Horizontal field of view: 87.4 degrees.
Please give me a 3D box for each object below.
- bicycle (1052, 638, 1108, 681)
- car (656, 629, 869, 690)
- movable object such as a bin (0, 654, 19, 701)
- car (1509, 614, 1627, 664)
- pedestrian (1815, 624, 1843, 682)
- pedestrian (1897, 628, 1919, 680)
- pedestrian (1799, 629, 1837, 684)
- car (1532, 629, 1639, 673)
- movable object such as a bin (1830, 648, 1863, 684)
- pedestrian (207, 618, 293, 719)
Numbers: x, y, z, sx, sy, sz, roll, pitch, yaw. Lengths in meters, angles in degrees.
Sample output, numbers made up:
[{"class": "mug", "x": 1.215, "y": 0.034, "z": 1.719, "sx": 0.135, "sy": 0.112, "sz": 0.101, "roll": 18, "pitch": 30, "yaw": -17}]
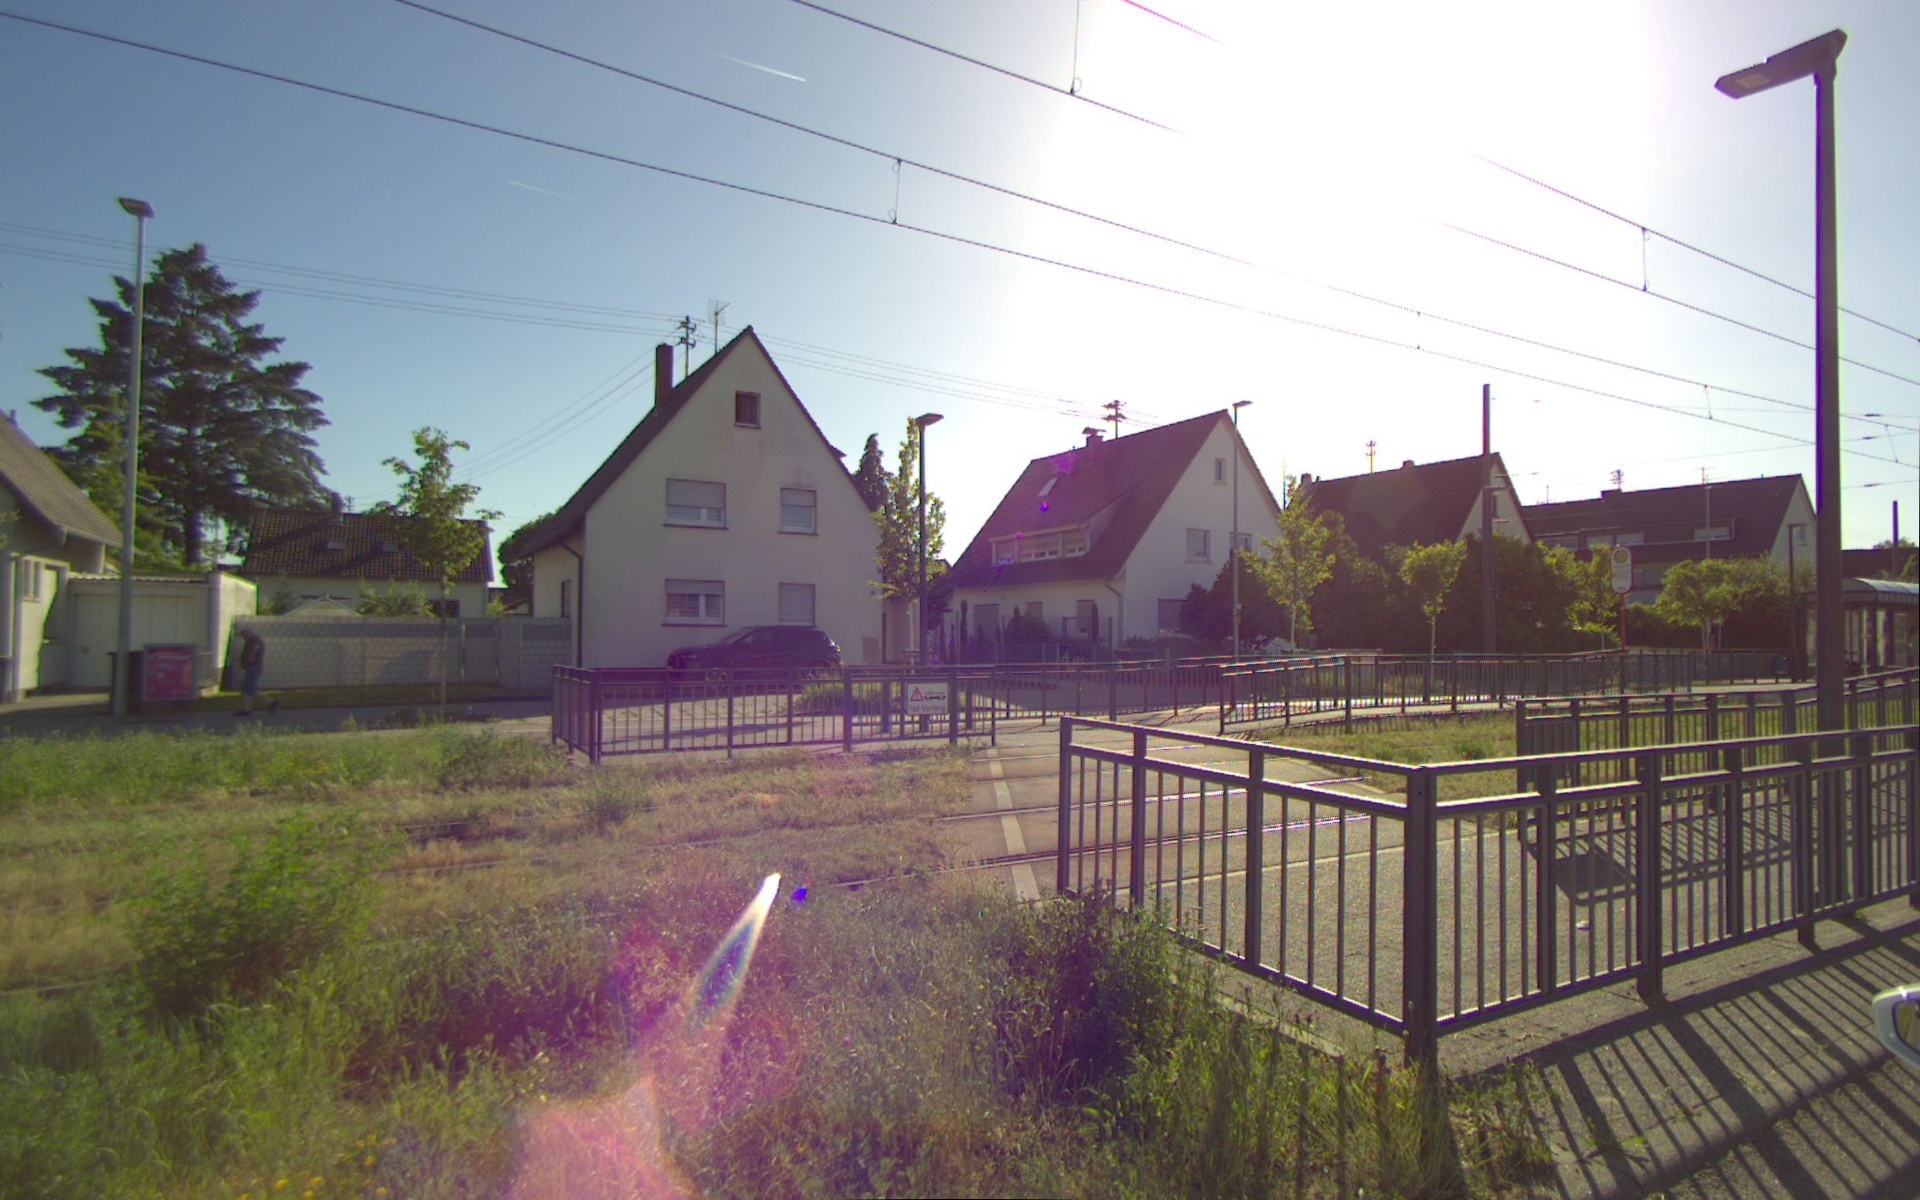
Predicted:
[{"class": "bicycle", "x": 3.953, "y": 1.954, "z": 33.303, "sx": 0.698, "sy": 1.383, "sz": 1.975, "roll": 2, "pitch": -2, "yaw": -36}, {"class": "car", "x": -5.099, "y": 1.527, "z": 26.163, "sx": 5.102, "sy": 1.469, "sz": 1.925, "roll": 2, "pitch": -2, "yaw": -31}, {"class": "movable object such as a bin", "x": -19.088, "y": 1.538, "z": 19.989, "sx": 0.447, "sy": 0.909, "sz": 0.368, "roll": 2, "pitch": -1, "yaw": -34}, {"class": "car", "x": 26.512, "y": 1.677, "z": 43.902, "sx": 1.915, "sy": 1.996, "sz": 3.957, "roll": 3, "pitch": -1, "yaw": -37}, {"class": "pedestrian", "x": 26.102, "y": 1.590, "z": 30.171, "sx": 0.575, "sy": 1.731, "sz": 0.516, "roll": 2, "pitch": -2, "yaw": -34}, {"class": "pedestrian", "x": 32.055, "y": 1.813, "z": 33.784, "sx": 0.762, "sy": 1.718, "sz": 0.498, "roll": 1, "pitch": -4, "yaw": -30}, {"class": "pedestrian", "x": 24.841, "y": 1.632, "z": 29.078, "sx": 0.741, "sy": 1.556, "sz": 0.671, "roll": 2, "pitch": -2, "yaw": -34}, {"class": "car", "x": 28.919, "y": 2.351, "z": 46.505, "sx": 1.783, "sy": 1.830, "sz": 3.816, "roll": 3, "pitch": -1, "yaw": -37}, {"class": "movable object such as a bin", "x": 25.254, "y": 1.884, "z": 28.616, "sx": 0.734, "sy": 1.001, "sz": 0.543, "roll": 2, "pitch": -2, "yaw": -34}, {"class": "pedestrian", "x": -12.259, "y": 1.166, "z": 17.378, "sx": 1.073, "sy": 1.662, "sz": 0.960, "roll": 2, "pitch": -2, "yaw": -30}]
